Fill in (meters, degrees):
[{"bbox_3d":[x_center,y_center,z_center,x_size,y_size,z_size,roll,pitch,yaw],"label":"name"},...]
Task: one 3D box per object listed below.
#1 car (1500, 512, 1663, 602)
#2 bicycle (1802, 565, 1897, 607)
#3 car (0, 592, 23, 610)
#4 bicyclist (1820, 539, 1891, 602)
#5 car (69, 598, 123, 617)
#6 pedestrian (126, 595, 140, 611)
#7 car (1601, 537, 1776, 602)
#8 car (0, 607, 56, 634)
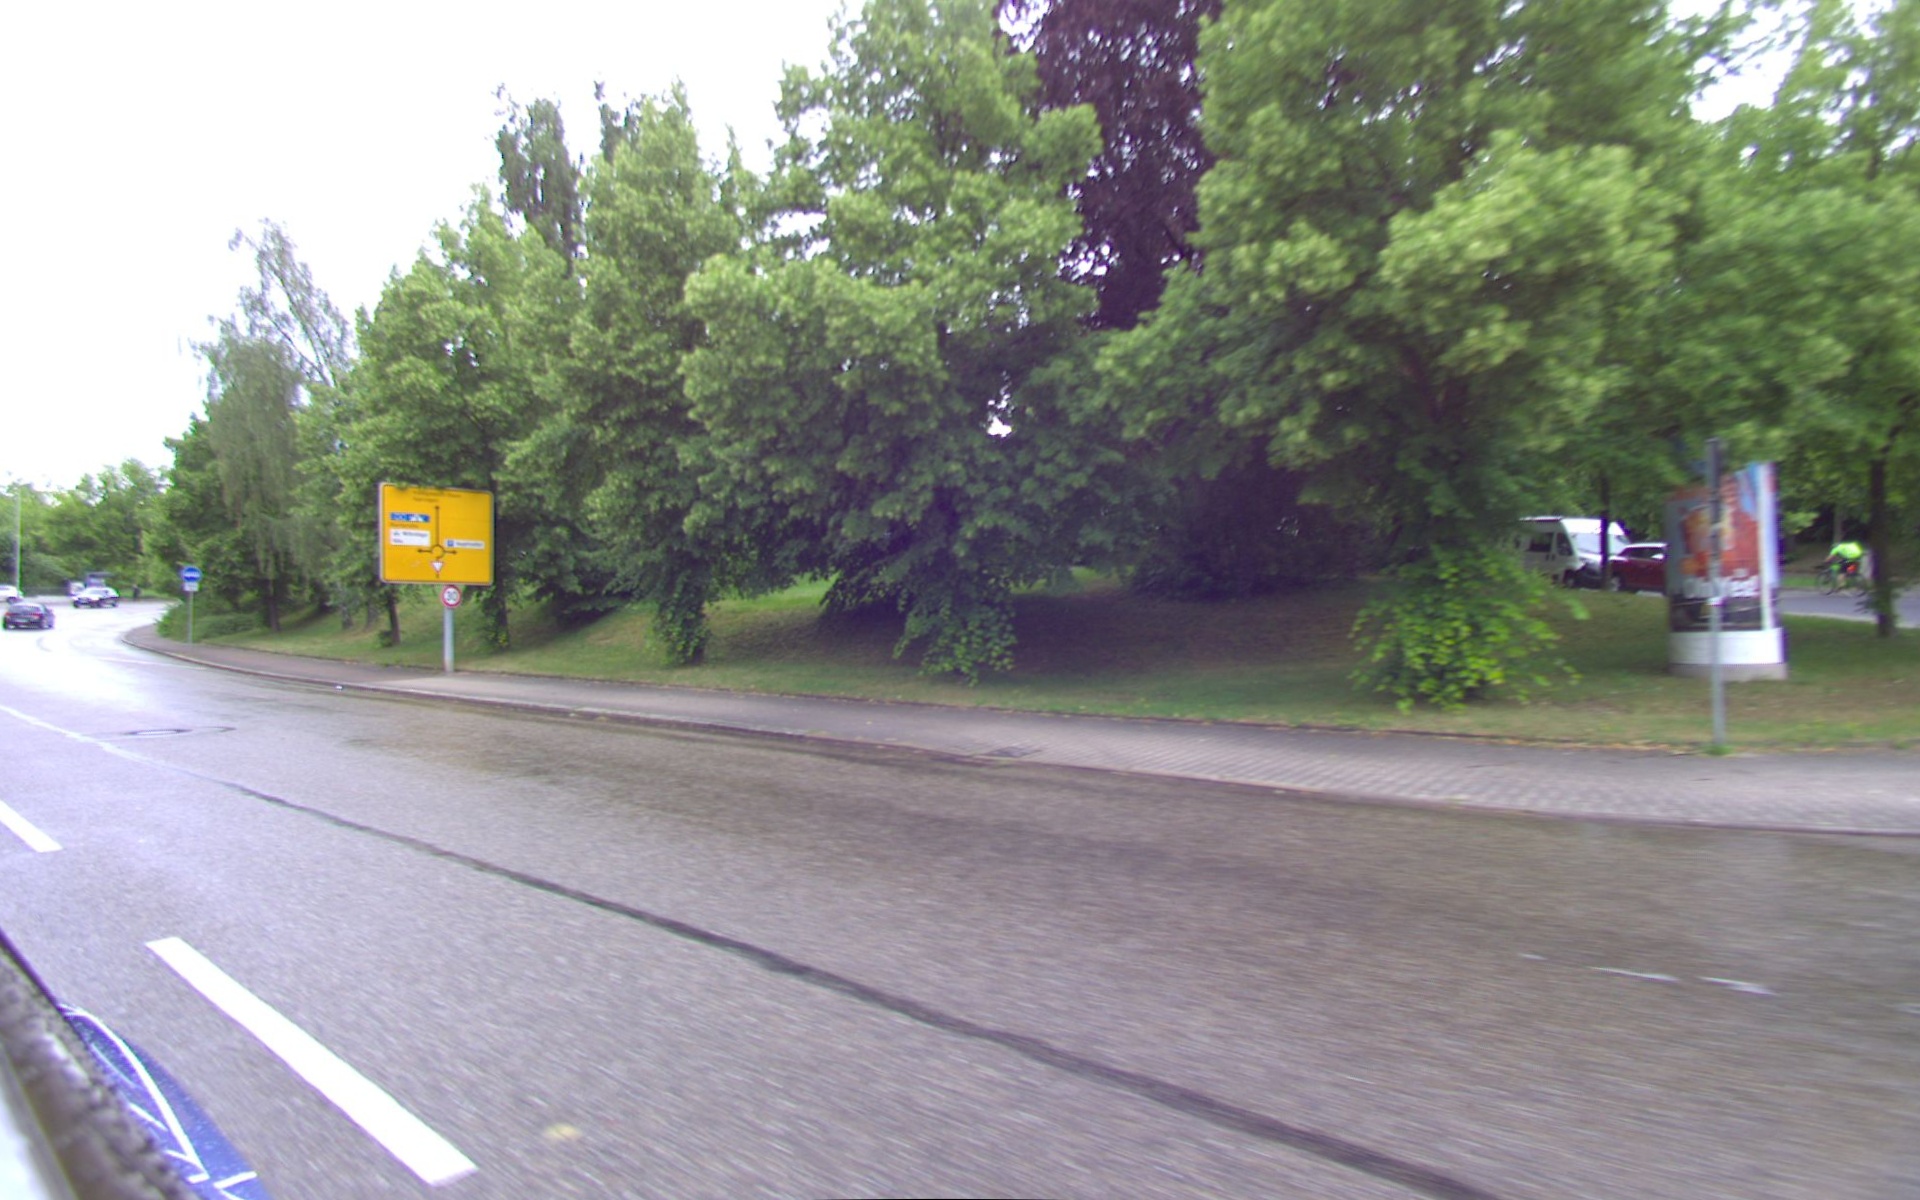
[{"bbox_3d":[20.747,-1.349,34.158,2.129,2.720,5.665,-1,0,3],"label":"car"},{"bbox_3d":[25.829,-0.394,29.438,0.841,1.164,2.041,1,0,-6],"label":"bicycle"},{"bbox_3d":[-84.380,0.040,88.160,3.807,1.578,1.731,3,-2,-37],"label":"car"},{"bbox_3d":[25.857,-0.828,29.251,0.841,1.769,1.287,1,0,-6],"label":"bicyclist"},{"bbox_3d":[-71.543,0.629,83.873,1.831,1.425,4.399,0,-2,-18],"label":"car"},{"bbox_3d":[-84.886,0.301,103.892,0.912,1.667,1.101,1,-1,-27],"label":"pedestrian"},{"bbox_3d":[20.558,-0.815,28.794,1.949,1.681,4.001,-1,0,-1],"label":"car"},{"bbox_3d":[-52.711,1.173,57.253,1.698,1.394,4.150,3,-3,-34],"label":"car"}]
